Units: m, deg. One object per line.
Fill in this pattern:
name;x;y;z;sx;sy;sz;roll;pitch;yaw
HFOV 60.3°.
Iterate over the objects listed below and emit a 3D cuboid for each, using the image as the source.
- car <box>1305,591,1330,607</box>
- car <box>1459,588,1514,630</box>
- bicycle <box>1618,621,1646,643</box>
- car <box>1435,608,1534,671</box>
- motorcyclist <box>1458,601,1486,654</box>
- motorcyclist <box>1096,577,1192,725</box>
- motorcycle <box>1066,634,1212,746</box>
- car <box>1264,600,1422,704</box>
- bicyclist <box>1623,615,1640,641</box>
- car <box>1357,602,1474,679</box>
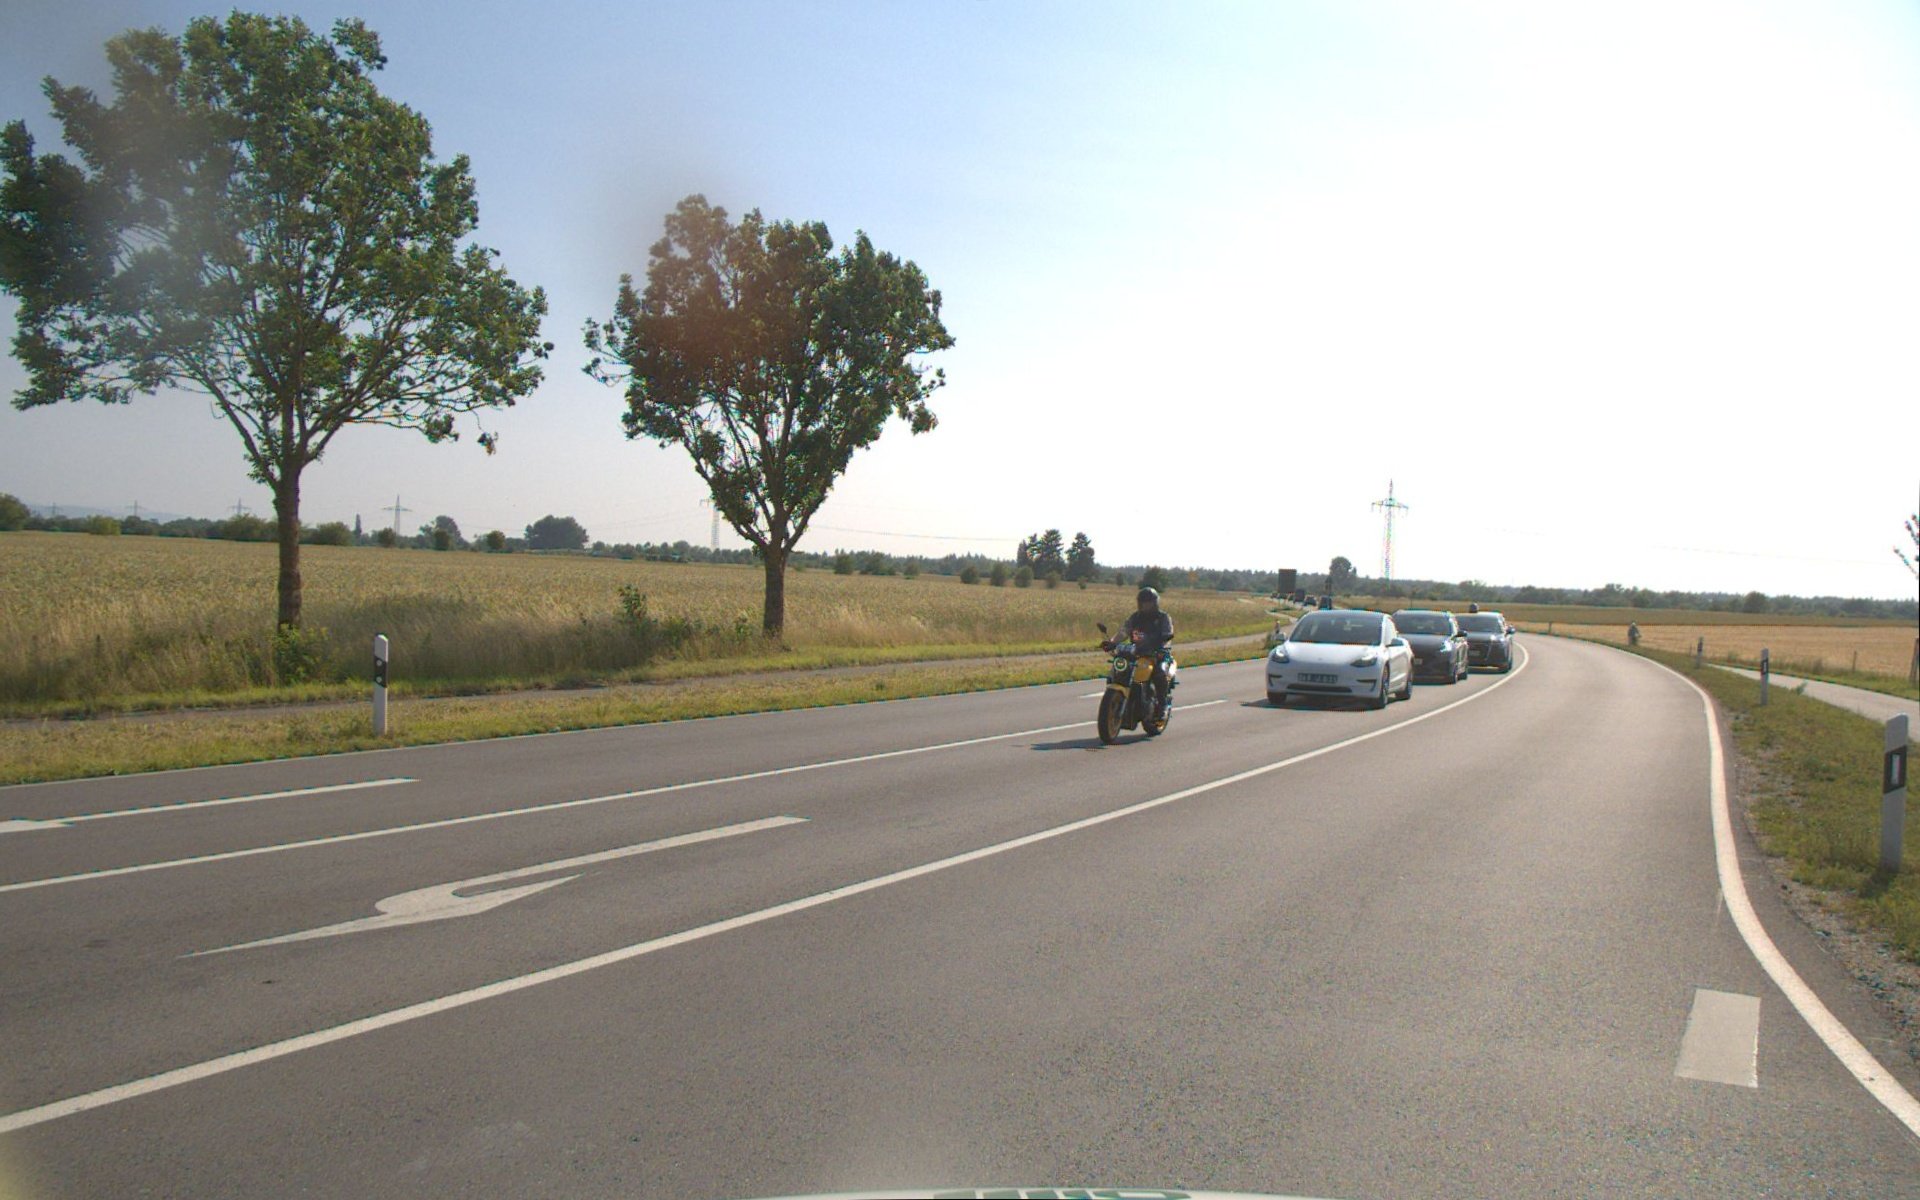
car;51.314;-0.184;237.620;1.807;1.864;4.458;5;2;-10
car;19.073;0.320;59.807;1.651;1.428;4.000;1;0;21
bicycle;39.073;1.878;96.206;0.827;1.161;2.208;4;1;6
car;13.599;0.989;42.712;1.852;1.461;4.794;2;0;24
motorcyclist;14.918;0.789;48.167;0.664;1.521;0.847;2;0;23
motorcyclist;2.023;0.537;18.070;0.665;1.542;1.180;2;0;25
motorcycle;2.011;0.944;18.172;0.879;1.062;2.427;2;1;24
car;6.274;0.783;26.754;1.851;1.492;4.275;1;0;22
bicyclist;39.099;1.640;96.334;0.624;1.482;0.817;4;0;6
car;9.829;0.833;35.485;1.852;1.486;4.304;2;0;23
